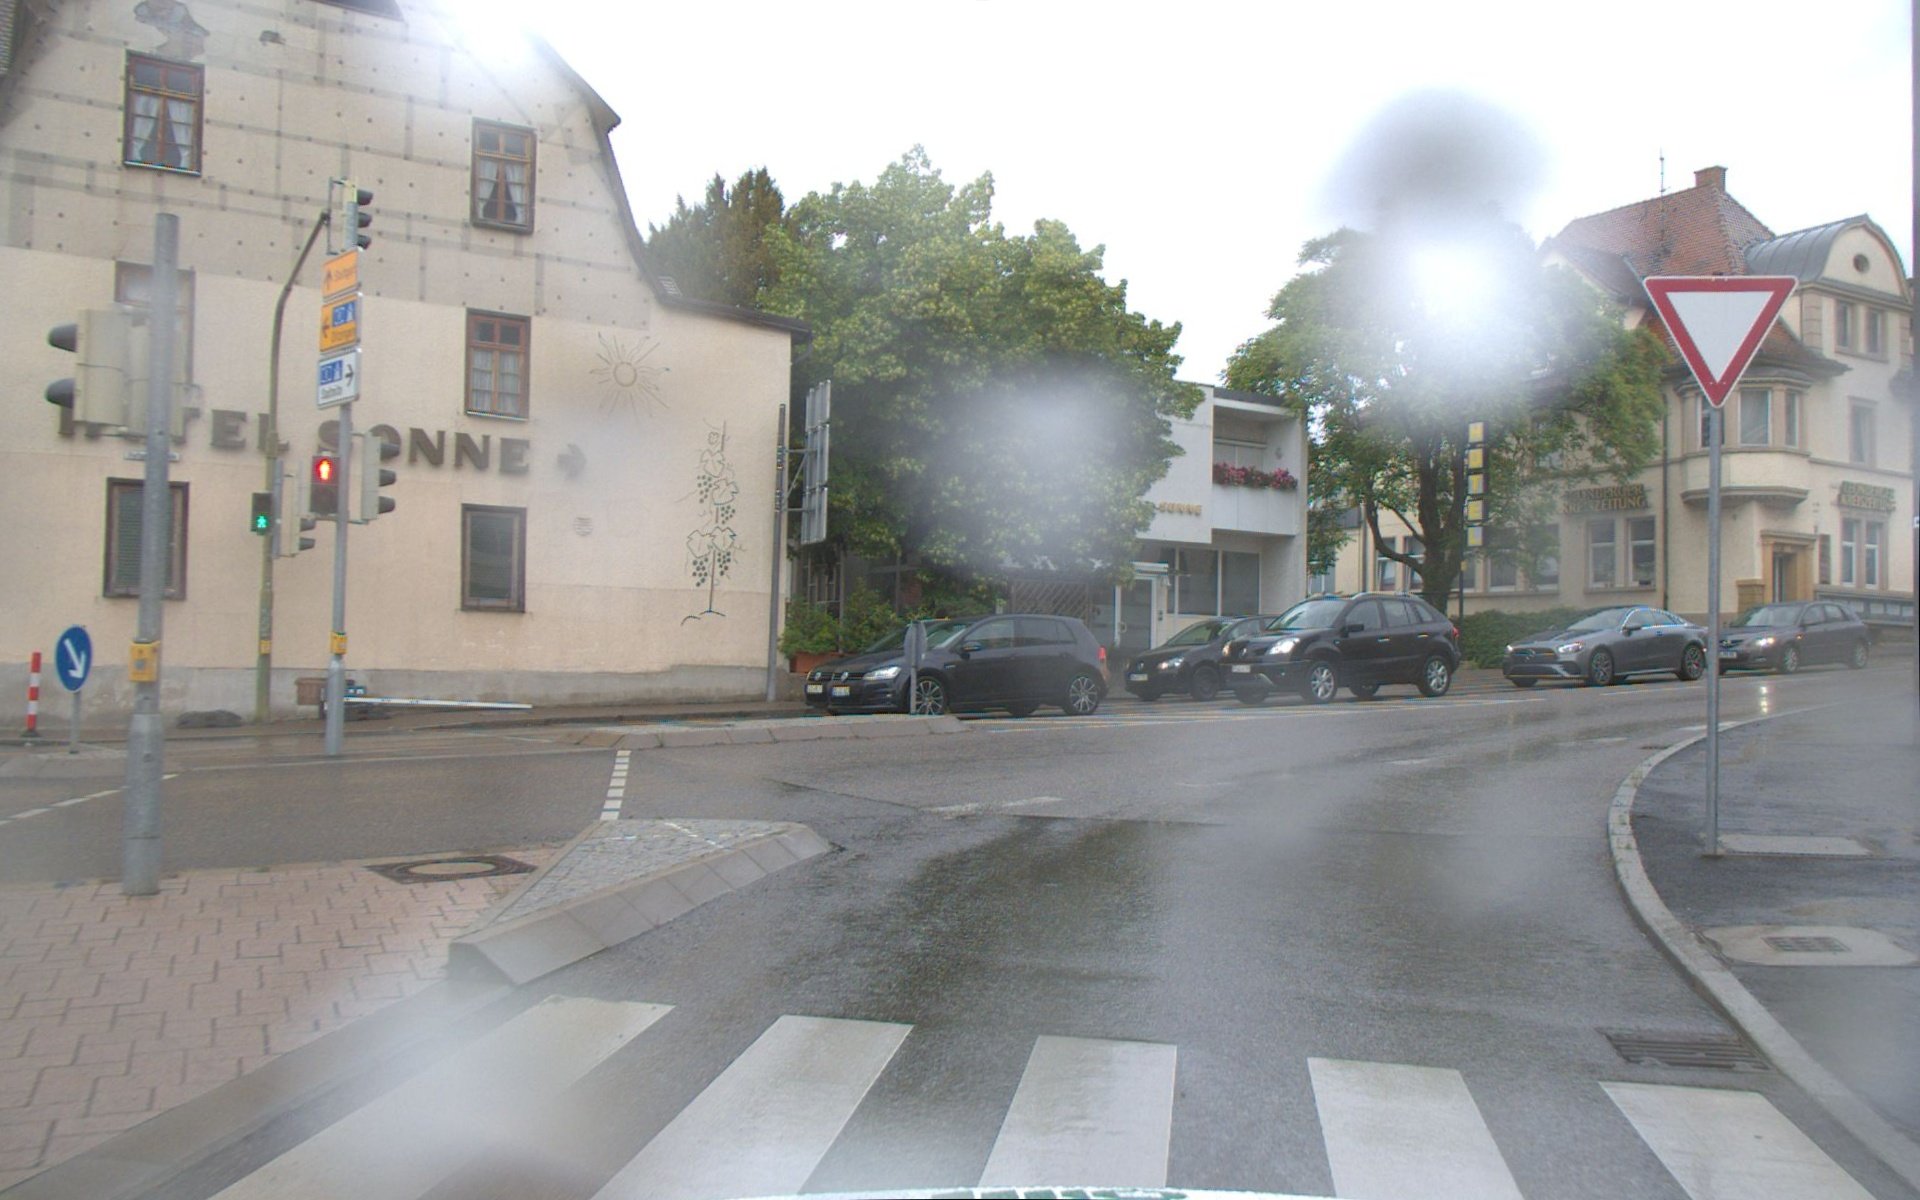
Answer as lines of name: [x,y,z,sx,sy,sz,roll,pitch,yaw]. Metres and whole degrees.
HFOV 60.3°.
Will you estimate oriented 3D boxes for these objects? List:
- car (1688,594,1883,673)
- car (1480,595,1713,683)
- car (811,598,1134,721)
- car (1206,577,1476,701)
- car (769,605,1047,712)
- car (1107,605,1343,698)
car: [17.172,0.684,34.369,4.135,1.477,1.758,-1,-3,-34]
car: [11.907,0.708,30.839,4.484,1.477,1.758,-1,-3,-34]
car: [0.217,0.805,23.030,4.266,1.531,1.757,-1,-3,-35]
car: [6.194,0.614,26.749,4.263,1.847,1.758,-1,-3,-34]
car: [-0.798,0.911,26.388,4.135,1.545,1.758,-1,-3,-34]
car: [4.870,0.927,30.234,4.135,1.545,1.758,-1,-3,-34]
